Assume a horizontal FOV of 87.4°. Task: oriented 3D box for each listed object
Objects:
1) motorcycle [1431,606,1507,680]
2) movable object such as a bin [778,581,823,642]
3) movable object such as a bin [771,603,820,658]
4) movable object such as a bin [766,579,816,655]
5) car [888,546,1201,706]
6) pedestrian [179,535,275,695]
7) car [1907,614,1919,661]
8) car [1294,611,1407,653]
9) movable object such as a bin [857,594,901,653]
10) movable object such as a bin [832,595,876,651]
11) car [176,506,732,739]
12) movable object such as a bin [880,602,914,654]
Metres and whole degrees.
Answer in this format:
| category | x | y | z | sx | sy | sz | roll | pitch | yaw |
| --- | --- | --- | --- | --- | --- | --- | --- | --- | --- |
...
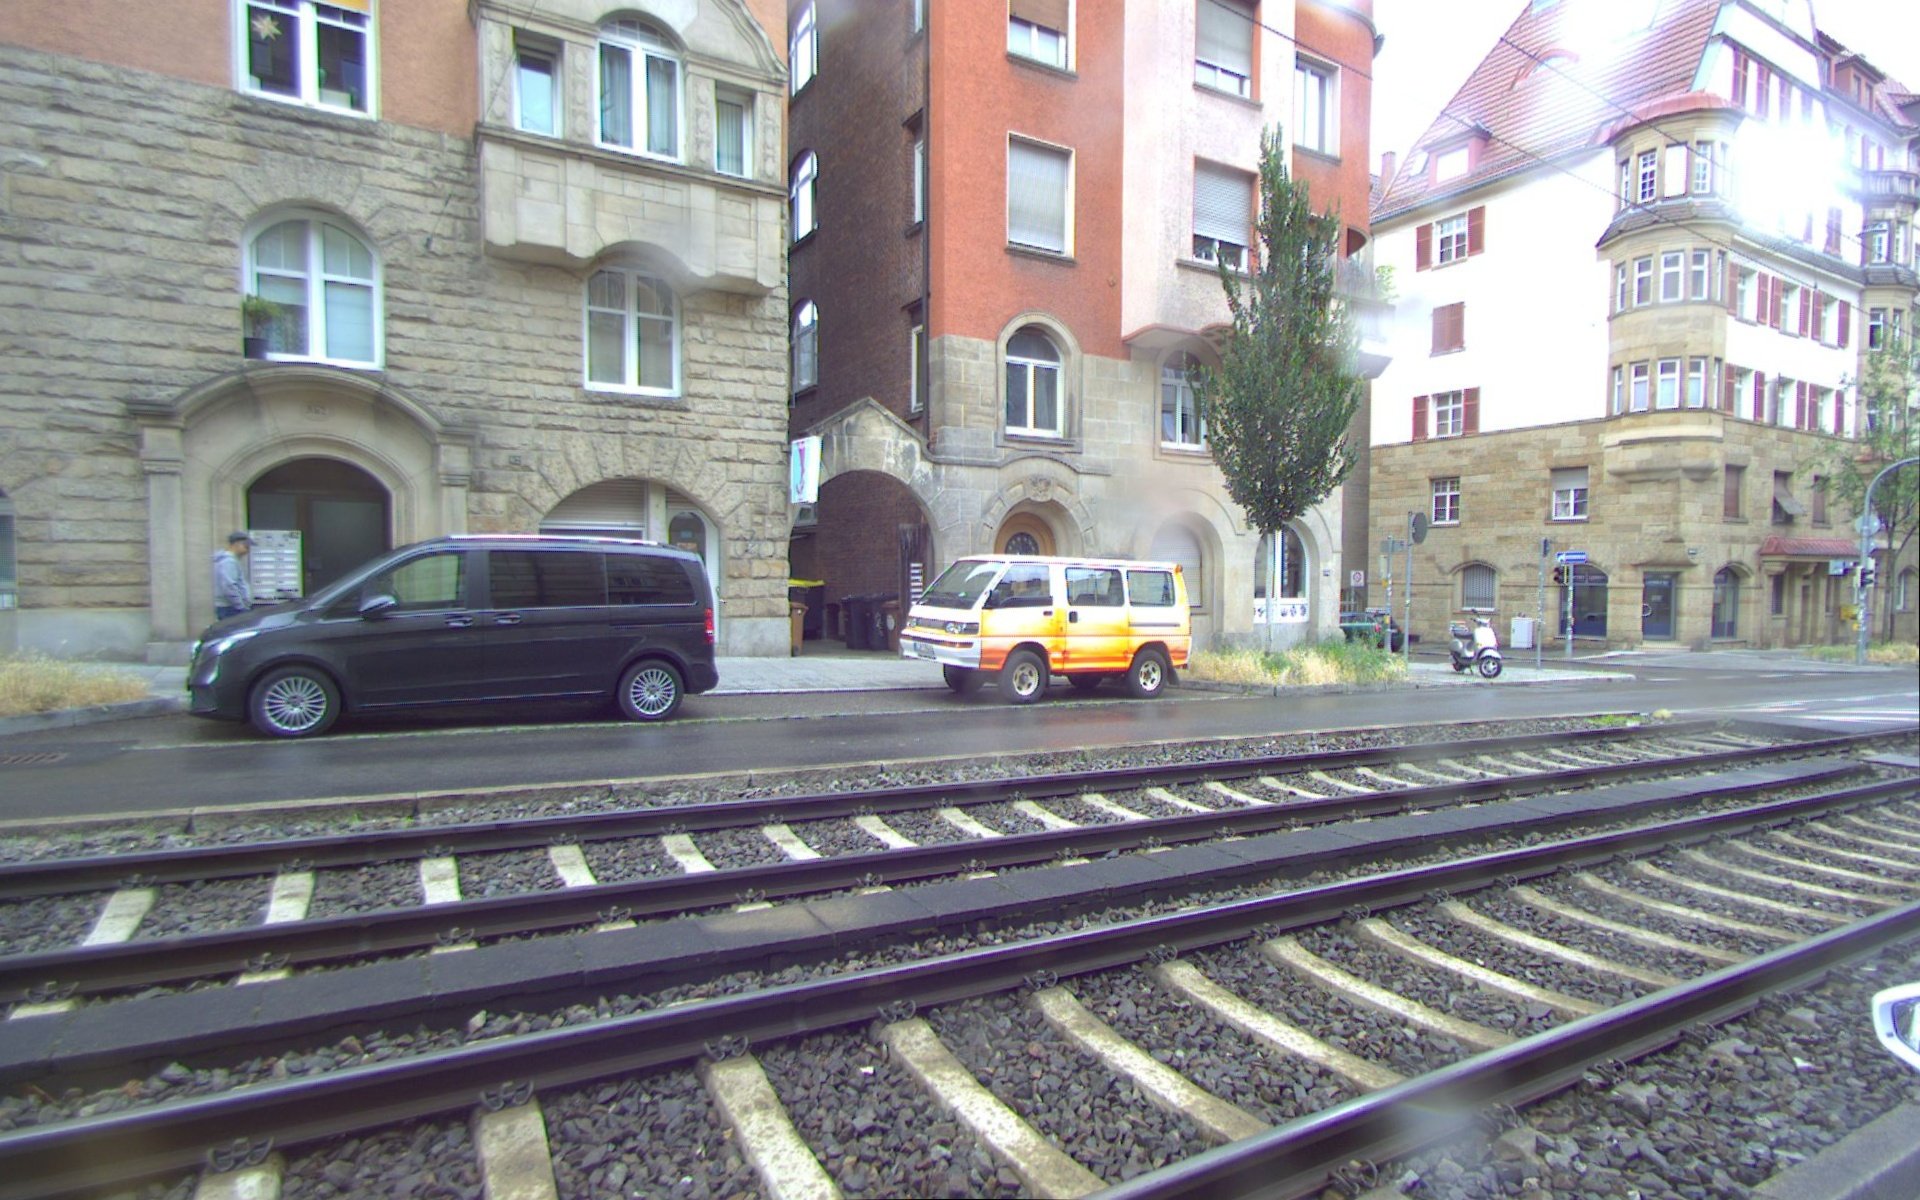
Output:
| category | x | y | z | sx | sy | sz | roll | pitch | yaw |
| --- | --- | --- | --- | --- | --- | --- | --- | --- | --- |
| motorcycle | 10.108 | 0.830 | 19.996 | 0.612 | 1.384 | 1.596 | 2 | 0 | -3 |
| movable object such as a bin | -3.608 | 0.241 | 22.653 | 0.676 | 1.324 | 1.154 | 1 | 1 | -26 |
| movable object such as a bin | -2.889 | 0.525 | 17.586 | 0.627 | 0.918 | 0.793 | 1 | 1 | -27 |
| movable object such as a bin | -3.104 | 0.304 | 18.459 | 0.648 | 1.360 | 0.903 | 1 | 1 | -27 |
| car | 1.278 | 0.376 | 14.435 | 4.295 | 2.001 | 1.721 | 2 | 0 | -32 |
| pedestrian | -8.067 | 0.157 | 11.089 | 0.756 | 1.664 | 0.696 | 2 | 5 | -30 |
| car | 34.171 | 1.329 | 34.350 | 3.994 | 1.573 | 1.741 | 2 | 0 | -34 |
| car | 14.464 | 1.158 | 37.339 | 1.683 | 1.423 | 3.618 | 2 | 0 | -34 |
| movable object such as a bin | -1.543 | 0.442 | 19.135 | 0.607 | 1.090 | 0.679 | 1 | -1 | -27 |
| movable object such as a bin | -2.081 | 0.448 | 19.681 | 0.607 | 1.052 | 0.793 | 1 | -1 | -27 |
| car | -5.048 | 0.252 | 10.590 | 4.769 | 1.968 | 1.984 | 2 | 0 | -30 |
| movable object such as a bin | -1.170 | 0.517 | 18.627 | 0.442 | 0.957 | 0.557 | 1 | -1 | -27 |
